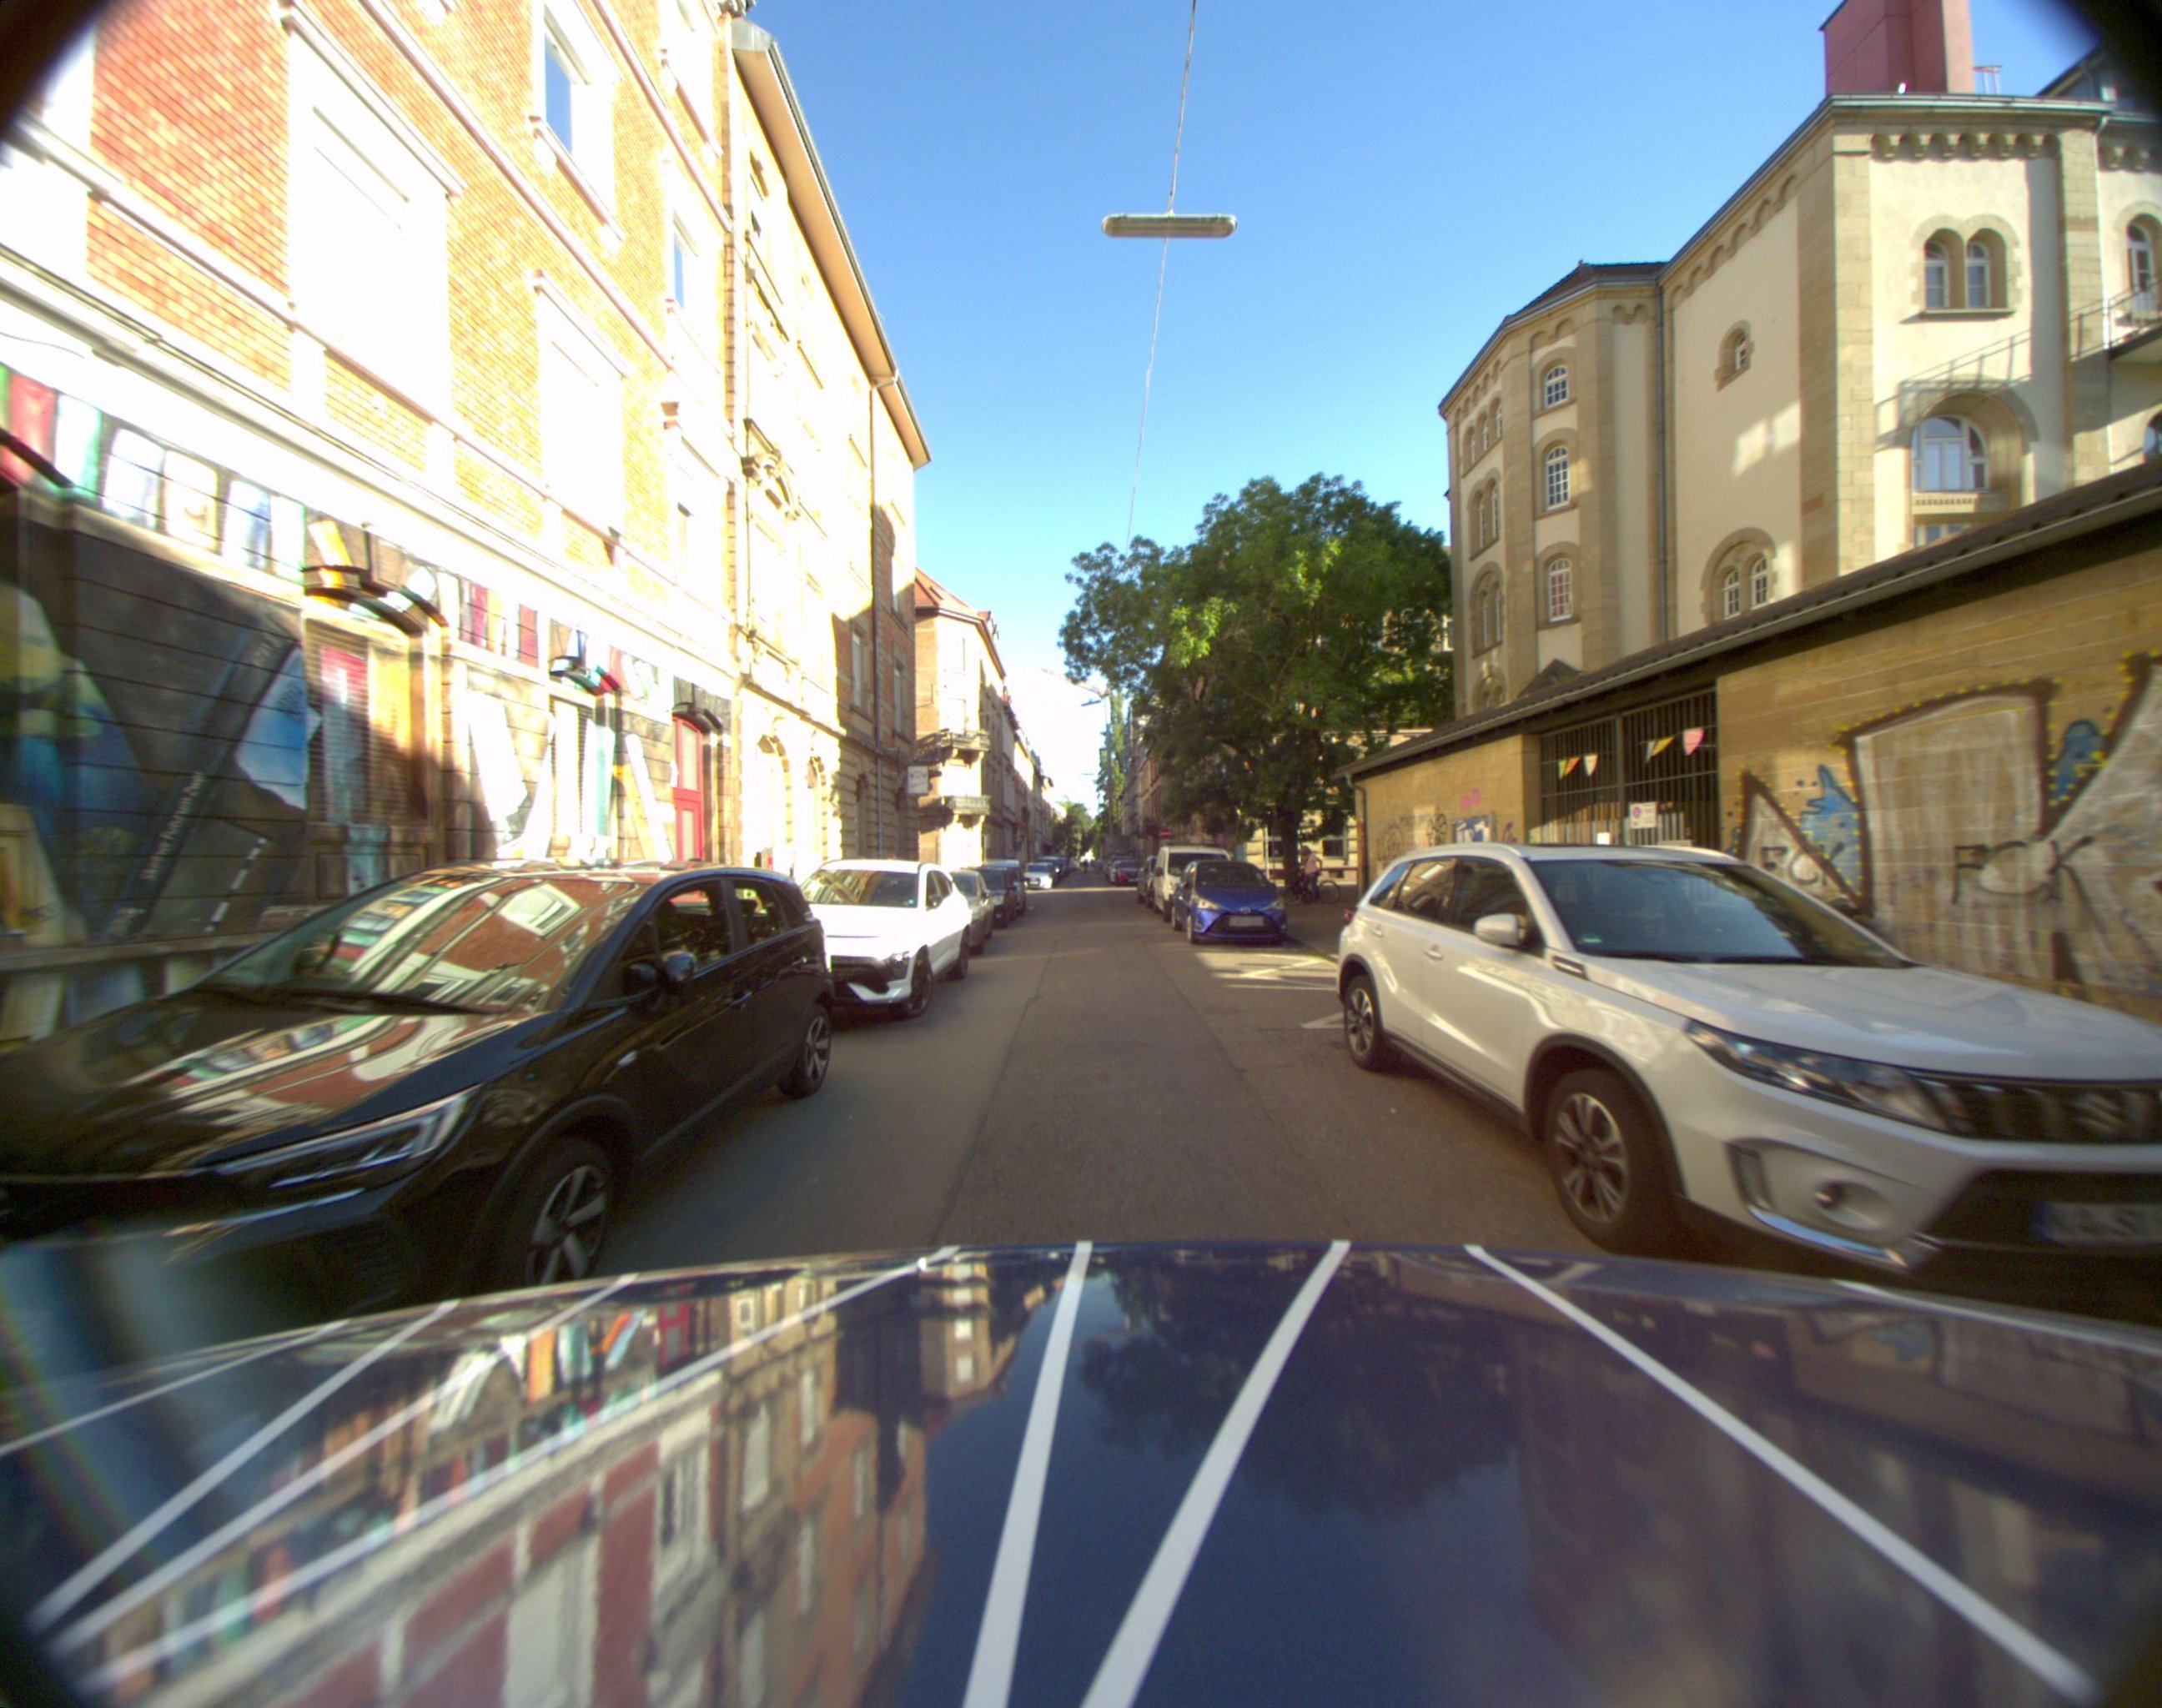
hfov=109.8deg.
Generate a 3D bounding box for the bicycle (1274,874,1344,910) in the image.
[{"bbox_3d":[6.528,1.086,21.829,1.764,0.917,0.827,-4,0,9],"label":"bicycle"}]

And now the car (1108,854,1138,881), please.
[{"bbox_3d":[2.970,0.953,54.672,1.897,1.774,4.608,-2,0,1],"label":"car"}]

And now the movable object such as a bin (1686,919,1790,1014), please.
[{"bbox_3d":[6.180,1.042,7.170,0.454,0.803,0.590,-1,0,0],"label":"movable object such as a bin"}]

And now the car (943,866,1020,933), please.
[{"bbox_3d":[-2.443,1.070,19.381,1.539,1.504,3.681,0,0,-1],"label":"car"}]

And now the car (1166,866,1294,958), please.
[{"bbox_3d":[2.698,0.993,14.567,1.691,1.468,3.860,1,0,0],"label":"car"}]

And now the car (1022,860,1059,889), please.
[{"bbox_3d":[-2.217,1.111,42.513,1.710,1.450,4.511,-2,0,1],"label":"car"}]

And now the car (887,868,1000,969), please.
[{"bbox_3d":[-2.474,1.102,14.516,1.576,1.516,3.907,-3,0,-3],"label":"car"}]

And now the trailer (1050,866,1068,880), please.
[{"bbox_3d":[-2.015,1.756,69.546,1.508,1.106,3.039,-4,0,-1],"label":"trailer"}]

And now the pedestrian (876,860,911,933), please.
[{"bbox_3d":[-4.148,0.928,16.813,0.592,1.594,0.727,0,0,-1],"label":"pedestrian"}]

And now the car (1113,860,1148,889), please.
[{"bbox_3d":[2.799,1.137,43.695,1.727,1.472,4.090,-2,0,1],"label":"car"}]

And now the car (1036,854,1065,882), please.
[{"bbox_3d":[-2.206,1.001,55.822,1.774,1.949,4.264,-3,0,1],"label":"car"}]

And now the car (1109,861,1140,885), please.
[{"bbox_3d":[2.736,1.179,48.458,1.678,1.412,3.874,-2,0,-1],"label":"car"}]

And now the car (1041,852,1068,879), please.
[{"bbox_3d":[-2.109,0.875,61.270,1.836,2.002,4.742,-3,0,1],"label":"car"}]

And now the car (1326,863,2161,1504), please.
[{"bbox_3d":[2.739,0.866,3.870,1.746,1.577,3.869,-1,0,1],"label":"car"}]

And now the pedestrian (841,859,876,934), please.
[{"bbox_3d":[-4.887,0.919,16.721,0.575,1.612,0.734,0,0,-1],"label":"pedestrian"}]

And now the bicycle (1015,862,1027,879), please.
[{"bbox_3d":[-4.735,1.266,59.979,0.728,1.296,1.692,2,0,1],"label":"bicycle"}]

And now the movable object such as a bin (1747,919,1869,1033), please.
[{"bbox_3d":[6.160,1.018,6.464,0.483,0.870,0.571,-1,0,0],"label":"movable object such as a bin"}]

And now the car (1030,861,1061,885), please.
[{"bbox_3d":[-2.226,1.198,48.618,1.670,1.470,3.888,-1,-1,1],"label":"car"}]

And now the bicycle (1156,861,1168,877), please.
[{"bbox_3d":[5.945,1.111,55.959,0.668,1.118,1.785,-4,-1,1],"label":"bicycle"}]

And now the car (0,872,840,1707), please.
[{"bbox_3d":[-2.618,0.949,3.506,1.691,1.633,3.924,-1,0,1],"label":"car"}]

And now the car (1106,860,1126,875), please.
[{"bbox_3d":[3.276,1.259,72.289,1.678,1.410,4.000,0,0,0],"label":"car"}]

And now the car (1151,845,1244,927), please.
[{"bbox_3d":[2.877,0.757,19.681,1.850,1.851,4.466,-1,-1,2],"label":"car"}]

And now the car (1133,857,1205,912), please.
[{"bbox_3d":[2.819,0.934,25.100,1.745,1.637,4.288,-1,0,-2],"label":"car"}]

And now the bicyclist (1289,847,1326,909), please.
[{"bbox_3d":[6.496,0.679,21.837,0.806,1.713,0.692,-4,1,9],"label":"bicyclist"}]

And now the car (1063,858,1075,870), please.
[{"bbox_3d":[-1.742,1.473,111.646,1.603,1.652,4.060,-3,0,1],"label":"car"}]

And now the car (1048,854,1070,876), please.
[{"bbox_3d":[-2.111,1.044,73.738,1.849,1.972,4.576,-3,0,0],"label":"car"}]

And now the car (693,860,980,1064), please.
[{"bbox_3d":[-2.449,0.982,8.852,1.812,1.680,4.214,-3,0,1],"label":"car"}]

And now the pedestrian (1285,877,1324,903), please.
[{"bbox_3d":[6.994,1.127,23.777,0.920,0.773,0.701,-1,0,-23],"label":"pedestrian"}]

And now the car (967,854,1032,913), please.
[{"bbox_3d":[-2.470,0.860,23.821,1.708,1.704,3.937,0,0,-1],"label":"car"}]

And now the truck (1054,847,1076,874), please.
[{"bbox_3d":[-1.737,0.721,81.715,2.154,2.641,6.252,3,0,-2],"label":"truck"}]
